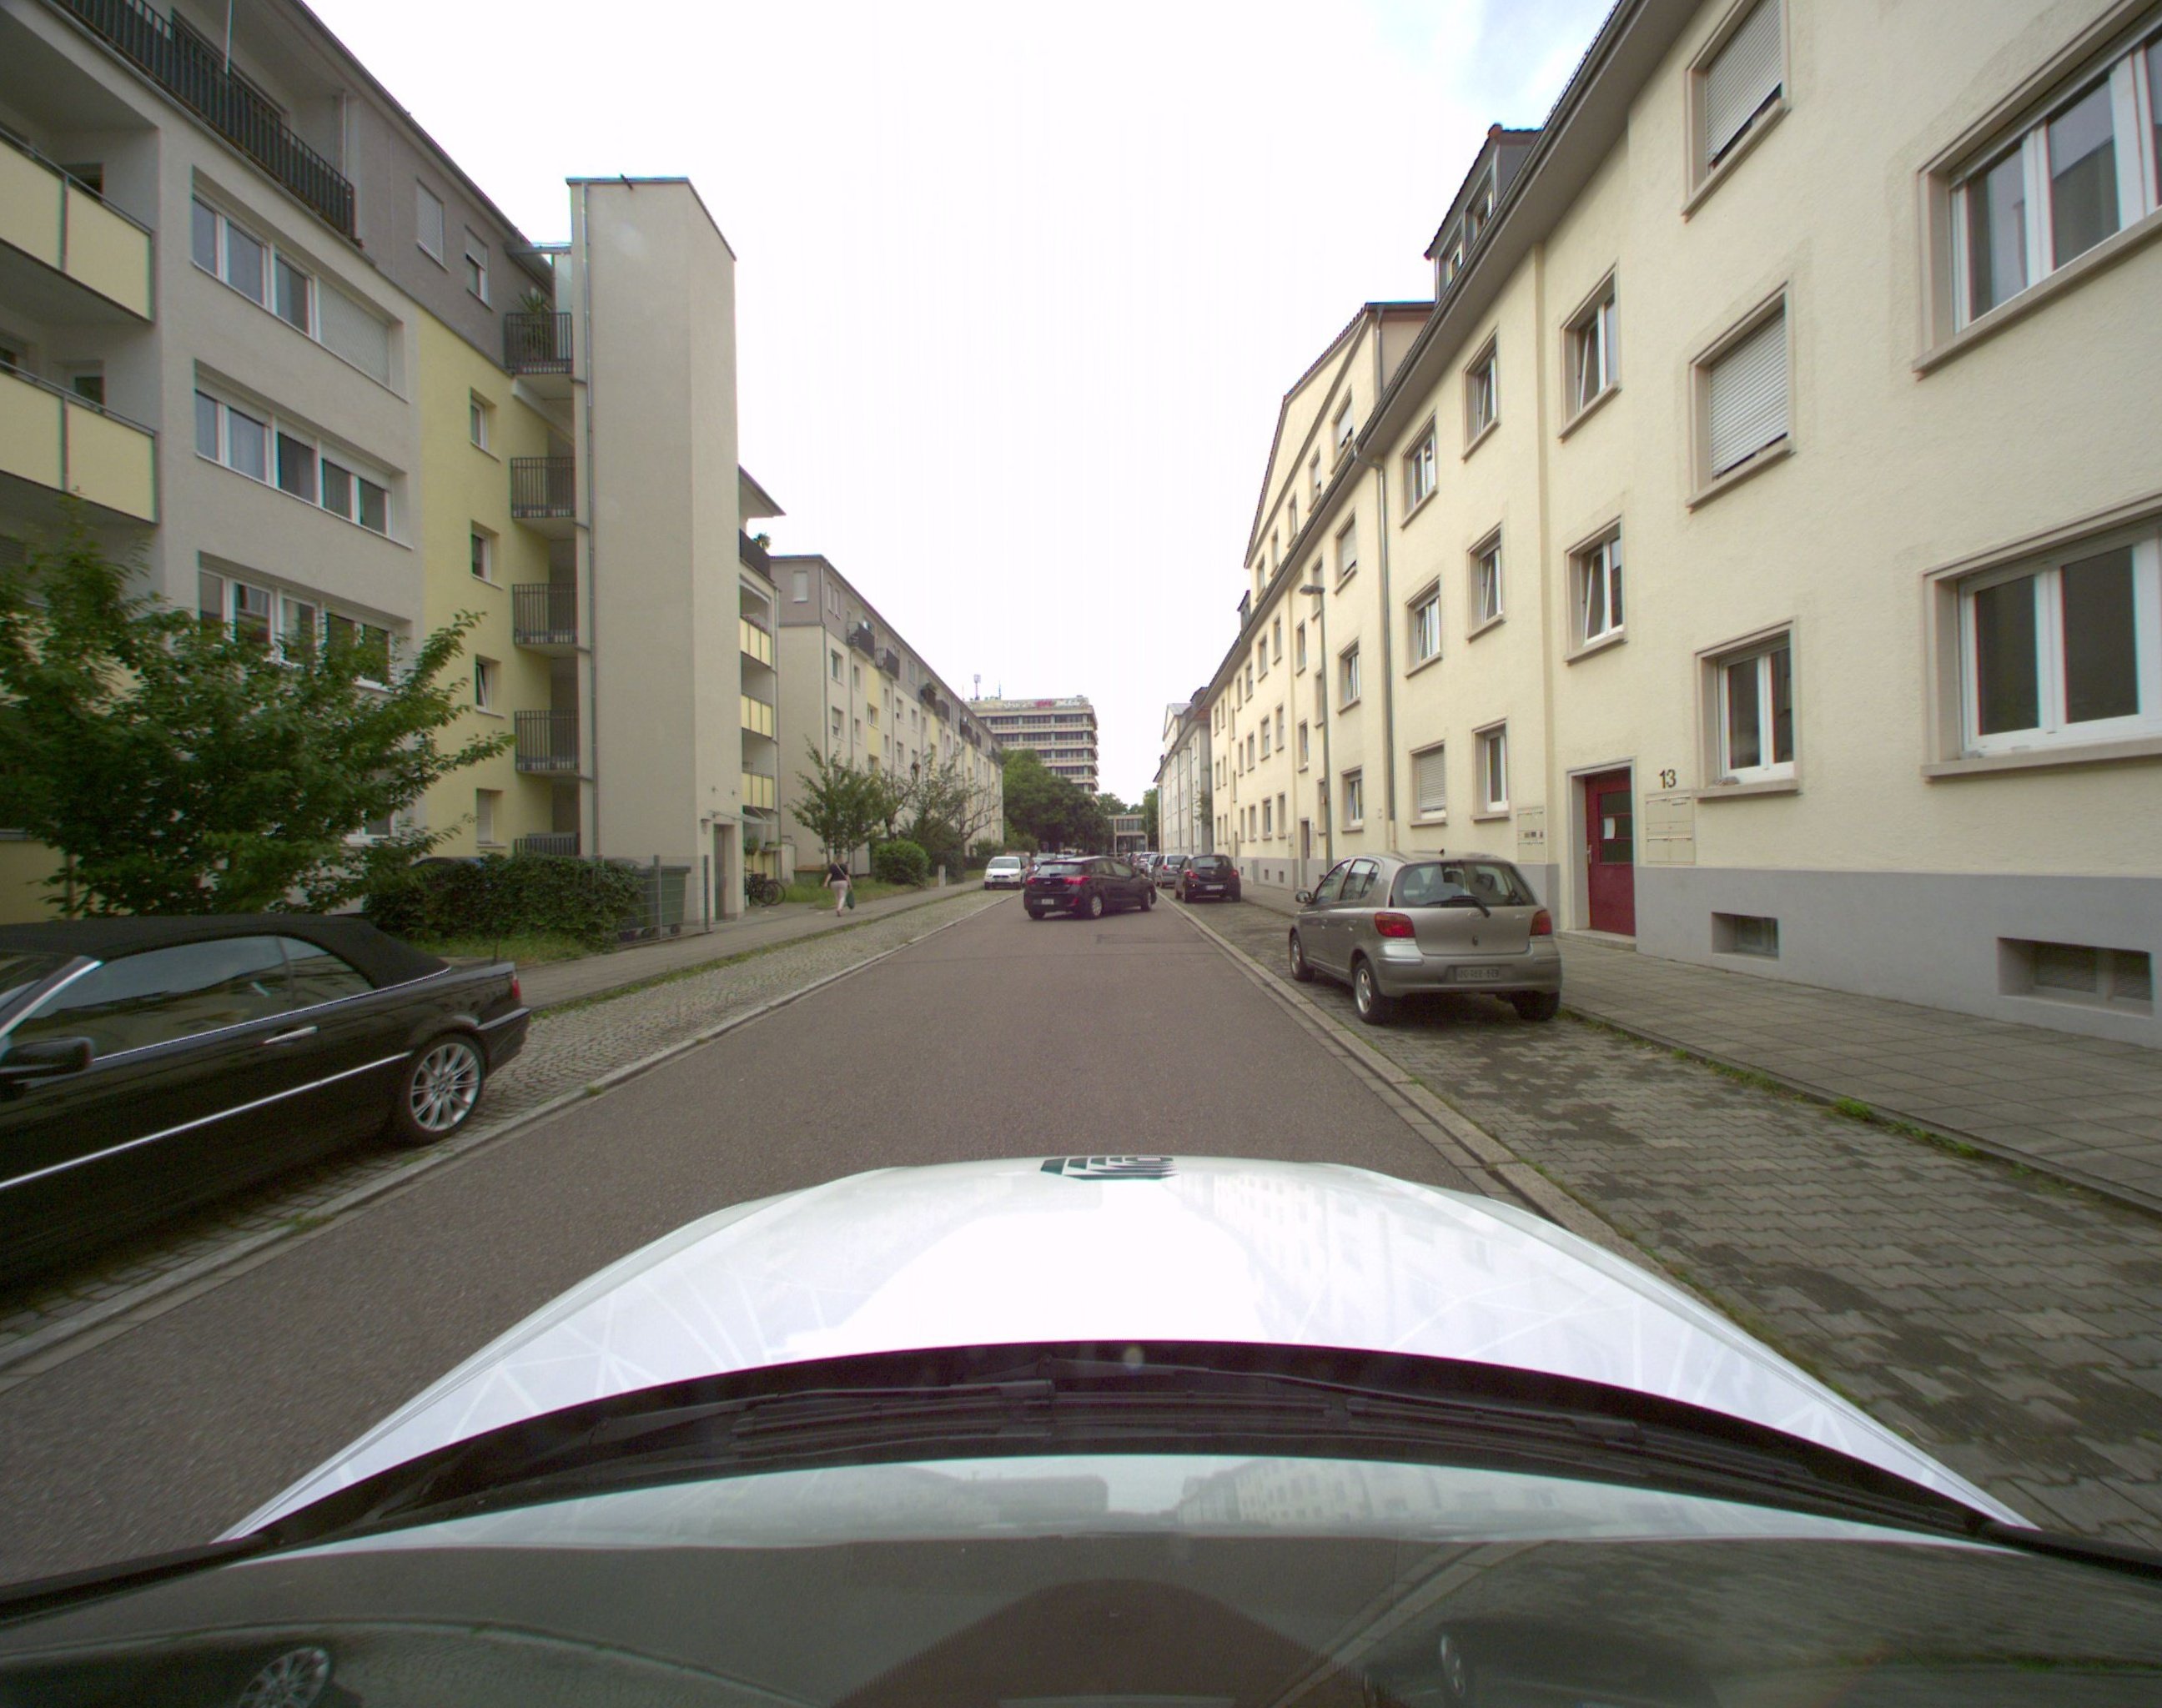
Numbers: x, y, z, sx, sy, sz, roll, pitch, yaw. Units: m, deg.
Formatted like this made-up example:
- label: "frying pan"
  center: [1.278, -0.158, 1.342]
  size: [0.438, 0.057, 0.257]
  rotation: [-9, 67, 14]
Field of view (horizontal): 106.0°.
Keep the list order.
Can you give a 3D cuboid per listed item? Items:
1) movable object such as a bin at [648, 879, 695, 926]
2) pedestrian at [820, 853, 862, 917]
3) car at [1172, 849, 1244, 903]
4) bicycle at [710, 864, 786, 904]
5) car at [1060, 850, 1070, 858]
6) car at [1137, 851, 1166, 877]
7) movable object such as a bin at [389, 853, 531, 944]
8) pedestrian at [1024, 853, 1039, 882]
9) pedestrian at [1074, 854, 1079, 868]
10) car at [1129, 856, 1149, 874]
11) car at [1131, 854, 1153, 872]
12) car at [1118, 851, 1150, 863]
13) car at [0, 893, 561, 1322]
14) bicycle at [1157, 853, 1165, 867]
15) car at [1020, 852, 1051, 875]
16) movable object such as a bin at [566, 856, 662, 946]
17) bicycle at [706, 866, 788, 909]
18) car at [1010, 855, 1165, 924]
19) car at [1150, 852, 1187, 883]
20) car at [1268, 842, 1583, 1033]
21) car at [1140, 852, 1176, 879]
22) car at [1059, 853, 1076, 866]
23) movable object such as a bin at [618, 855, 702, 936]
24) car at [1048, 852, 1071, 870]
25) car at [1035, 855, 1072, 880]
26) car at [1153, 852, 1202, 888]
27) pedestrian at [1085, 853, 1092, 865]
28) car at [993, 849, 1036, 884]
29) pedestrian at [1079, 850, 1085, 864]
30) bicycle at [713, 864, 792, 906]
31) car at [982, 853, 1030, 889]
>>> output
- label: "movable object such as a bin"
  center: [-8.718, 1.021, 17.361]
  size: [0.633, 0.965, 0.652]
  rotation: [-1, 0, 2]
- label: "pedestrian"
  center: [-6.143, 0.781, 20.890]
  size: [0.797, 1.610, 0.946]
  rotation: [-1, 0, -3]
- label: "car"
  center: [3.885, 0.627, 25.545]
  size: [1.718, 1.517, 4.062]
  rotation: [-1, 0, 2]
- label: "bicycle"
  center: [-10.035, 0.908, 24.581]
  size: [2.017, 1.141, 0.623]
  rotation: [-1, 0, -2]
- label: "car"
  center: [-3.086, -0.006, 157.761]
  size: [1.659, 1.333, 3.397]
  rotation: [-1, 0, 2]
- label: "car"
  center: [4.731, 0.641, 54.975]
  size: [1.813, 1.642, 4.094]
  rotation: [0, 0, 3]
- label: "movable object such as a bin"
  center: [-10.489, 0.711, 13.829]
  size: [1.347, 1.464, 1.372]
  rotation: [0, 0, 0]
- label: "pedestrian"
  center: [-2.995, 0.811, 49.140]
  size: [0.742, 1.701, 0.792]
  rotation: [-2, 0, -16]
- label: "pedestrian"
  center: [-0.585, 0.988, 114.873]
  size: [0.602, 1.831, 0.676]
  rotation: [-1, 0, 3]
- label: "car"
  center: [5.384, 1.015, 76.012]
  size: [1.813, 1.603, 4.094]
  rotation: [-1, 0, 3]
- label: "car"
  center: [5.318, 0.752, 71.289]
  size: [1.813, 1.503, 4.094]
  rotation: [-1, 0, 3]
- label: "car"
  center: [7.142, 0.398, 110.147]
  size: [4.130, 1.497, 1.810]
  rotation: [-1, 0, 0]
- label: "car"
  center: [-4.644, 0.946, 3.578]
  size: [1.863, 1.323, 4.362]
  rotation: [0, 0, 1]
- label: "bicycle"
  center: [6.831, 0.506, 69.553]
  size: [0.527, 1.175, 2.041]
  rotation: [-2, 0, 8]
- label: "car"
  center: [-3.084, 0.642, 55.653]
  size: [1.738, 1.464, 3.787]
  rotation: [-1, 0, 2]
- label: "movable object such as a bin"
  center: [-7.789, 0.757, 13.636]
  size: [0.800, 1.429, 1.289]
  rotation: [0, 0, 4]
- label: "bicycle"
  center: [-9.438, 0.933, 23.071]
  size: [2.021, 1.141, 0.621]
  rotation: [-1, 0, -8]
- label: "car"
  center: [0.284, 0.799, 20.125]
  size: [1.885, 1.433, 4.259]
  rotation: [-2, 0, 31]
- label: "car"
  center: [4.340, 0.643, 40.950]
  size: [1.596, 1.476, 3.871]
  rotation: [0, 0, 2]
- label: "car"
  center: [3.278, 0.680, 8.689]
  size: [1.718, 1.517, 4.062]
  rotation: [-1, 0, 2]
- label: "car"
  center: [4.288, 0.608, 45.873]
  size: [1.718, 1.476, 4.507]
  rotation: [0, 0, 2]
- label: "car"
  center: [-1.614, 0.710, 99.464]
  size: [1.987, 1.541, 3.999]
  rotation: [0, 0, 0]
- label: "movable object such as a bin"
  center: [-7.702, 0.730, 14.957]
  size: [0.799, 1.429, 1.290]
  rotation: [0, 0, 5]
- label: "car"
  center: [-2.032, 0.652, 78.832]
  size: [1.888, 1.599, 4.523]
  rotation: [1, 0, 2]
- label: "car"
  center: [-1.599, 0.784, 49.259]
  size: [1.837, 1.451, 4.505]
  rotation: [0, 0, 3]
- label: "car"
  center: [4.190, 0.663, 35.835]
  size: [1.842, 1.450, 3.835]
  rotation: [-1, 0, 2]
- label: "pedestrian"
  center: [1.080, 0.720, 115.134]
  size: [0.967, 1.654, 0.982]
  rotation: [-1, 0, 4]
- label: "car"
  center: [-3.533, 0.638, 43.996]
  size: [1.950, 1.770, 4.361]
  rotation: [0, 0, 0]
- label: "pedestrian"
  center: [0.179, 0.420, 115.297]
  size: [0.710, 1.831, 0.798]
  rotation: [-1, 0, 4]
- label: "bicycle"
  center: [-9.540, 0.894, 23.697]
  size: [2.021, 1.141, 0.621]
  rotation: [-1, 0, -9]
- label: "car"
  center: [-3.451, 0.747, 38.137]
  size: [1.714, 1.570, 3.872]
  rotation: [1, 0, 2]
